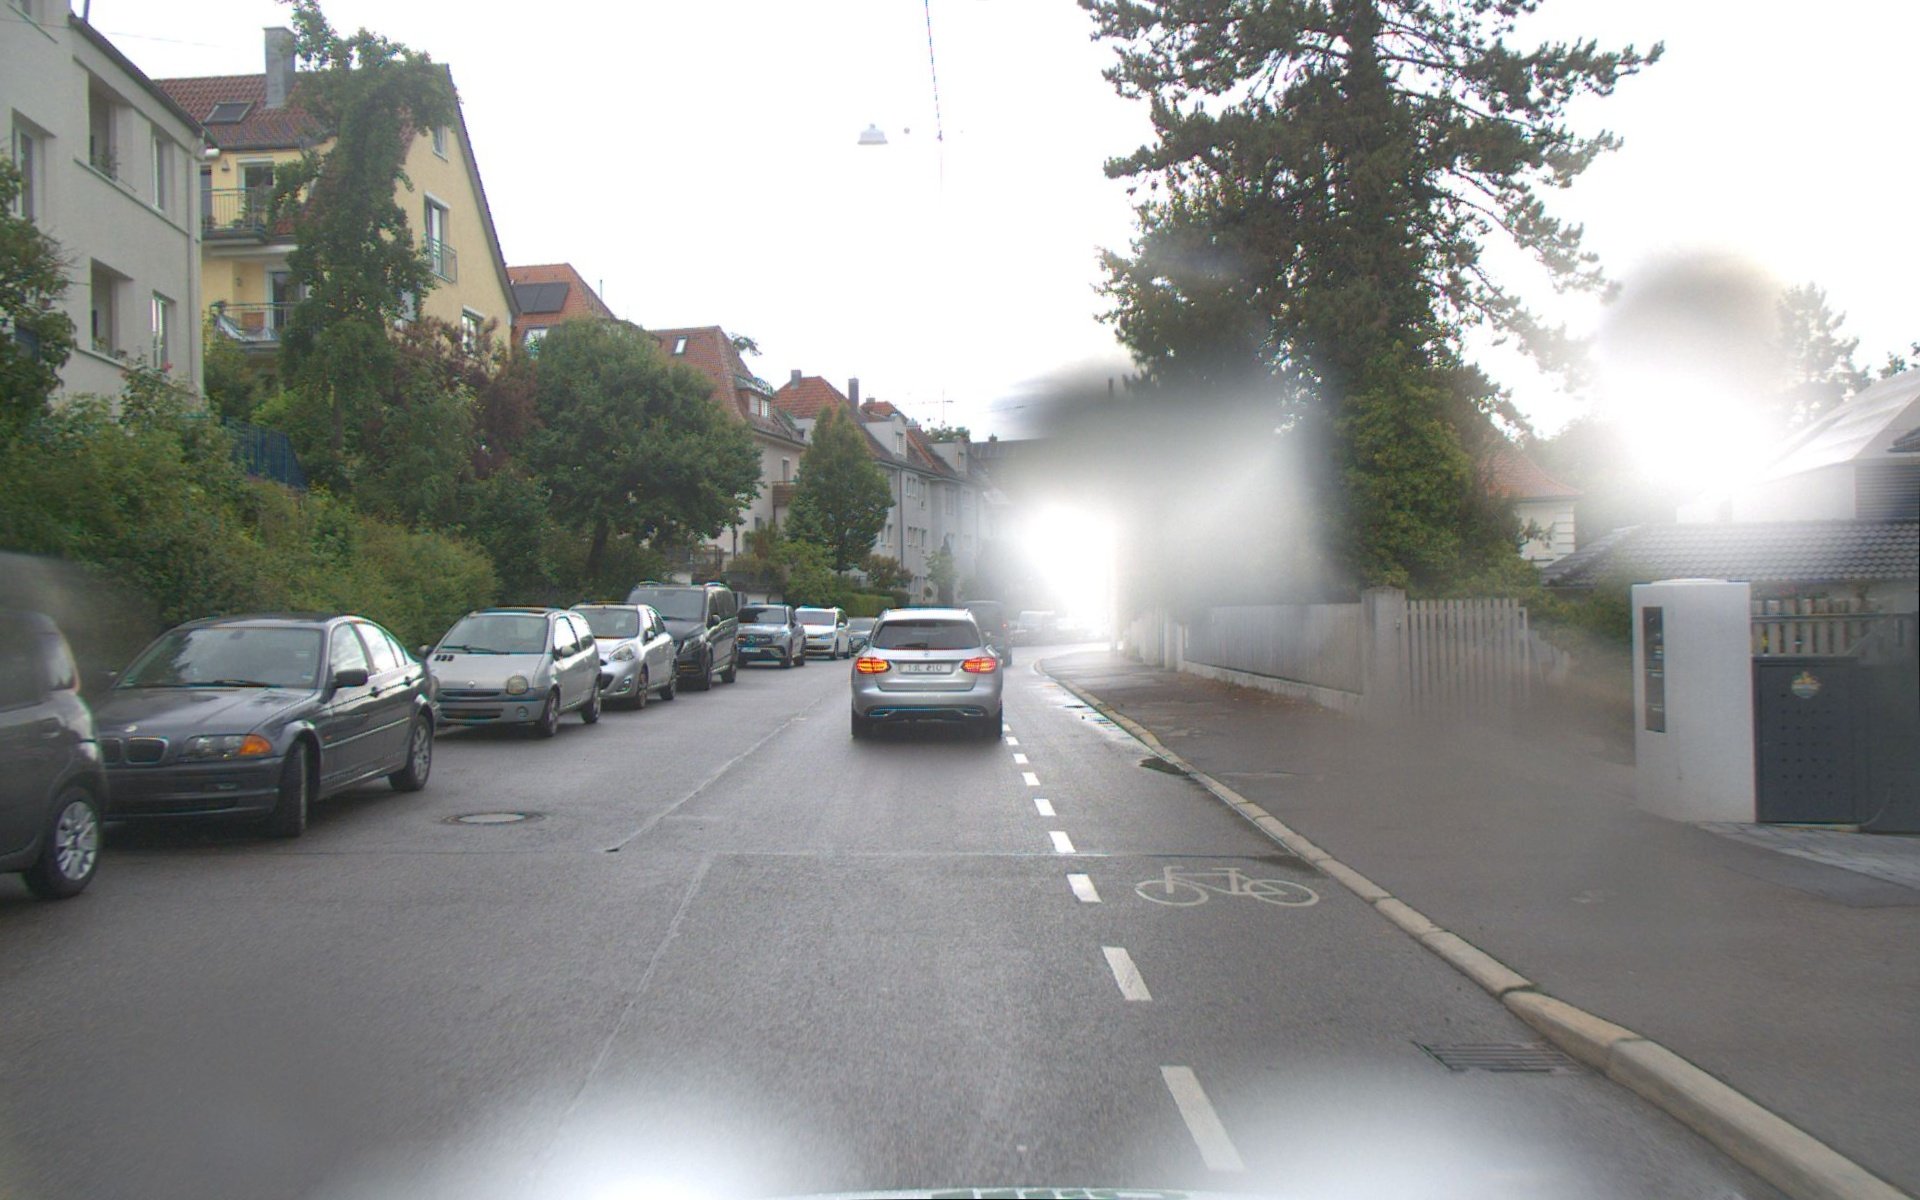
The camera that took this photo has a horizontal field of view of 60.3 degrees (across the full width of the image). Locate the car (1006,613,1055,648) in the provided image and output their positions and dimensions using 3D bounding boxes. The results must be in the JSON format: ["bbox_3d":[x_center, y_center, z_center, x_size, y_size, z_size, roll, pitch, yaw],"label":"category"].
[{"bbox_3d":[4.289,1.834,99.741,1.790,2.092,5.012,0,-1,16],"label":"car"}]

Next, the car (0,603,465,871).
[{"bbox_3d":[-5.113,0.827,12.135,1.720,1.472,4.415,0,2,-1],"label":"car"}]

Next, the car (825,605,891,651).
[{"bbox_3d":[-3.829,1.049,62.712,1.754,1.608,4.141,2,0,6],"label":"car"}]

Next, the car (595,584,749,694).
[{"bbox_3d":[-5.410,0.694,31.772,1.952,1.911,5.356,1,0,0],"label":"car"}]

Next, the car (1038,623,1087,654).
[{"bbox_3d":[6.627,2.463,106.670,1.952,1.718,4.678,0,2,20],"label":"car"}]

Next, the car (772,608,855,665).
[{"bbox_3d":[-4.760,1.153,54.279,1.952,1.732,4.740,2,0,4],"label":"car"}]

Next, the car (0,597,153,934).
[{"bbox_3d":[-5.287,0.771,7.288,1.662,1.568,3.813,0,0,-1],"label":"car"}]

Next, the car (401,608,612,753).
[{"bbox_3d":[-5.372,0.894,20.035,1.613,1.472,3.627,0,2,-1],"label":"car"}]

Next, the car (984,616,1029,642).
[{"bbox_3d":[2.686,1.622,94.028,1.608,1.442,4.616,0,0,14],"label":"car"}]

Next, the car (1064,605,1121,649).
[{"bbox_3d":[9.206,1.827,113.986,2.341,2.820,6.534,0,1,19],"label":"car"}]

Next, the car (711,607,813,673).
[{"bbox_3d":[-5.244,1.017,44.409,1.952,1.608,4.762,2,0,2],"label":"car"}]

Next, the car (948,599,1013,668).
[{"bbox_3d":[0.593,0.984,48.743,1.805,1.937,4.000,0,-1,0],"label":"car"}]

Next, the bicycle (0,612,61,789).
[{"bbox_3d":[-7.858,0.797,12.401,0.983,1.324,2.291,0,1,-1],"label":"bicycle"}]

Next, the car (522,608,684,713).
[{"bbox_3d":[-5.358,0.863,25.249,1.660,1.472,3.813,0,0,0],"label":"car"}]

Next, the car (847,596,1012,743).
[{"bbox_3d":[-0.347,0.761,20.004,1.779,1.584,3.999,0,0,0],"label":"car"}]
